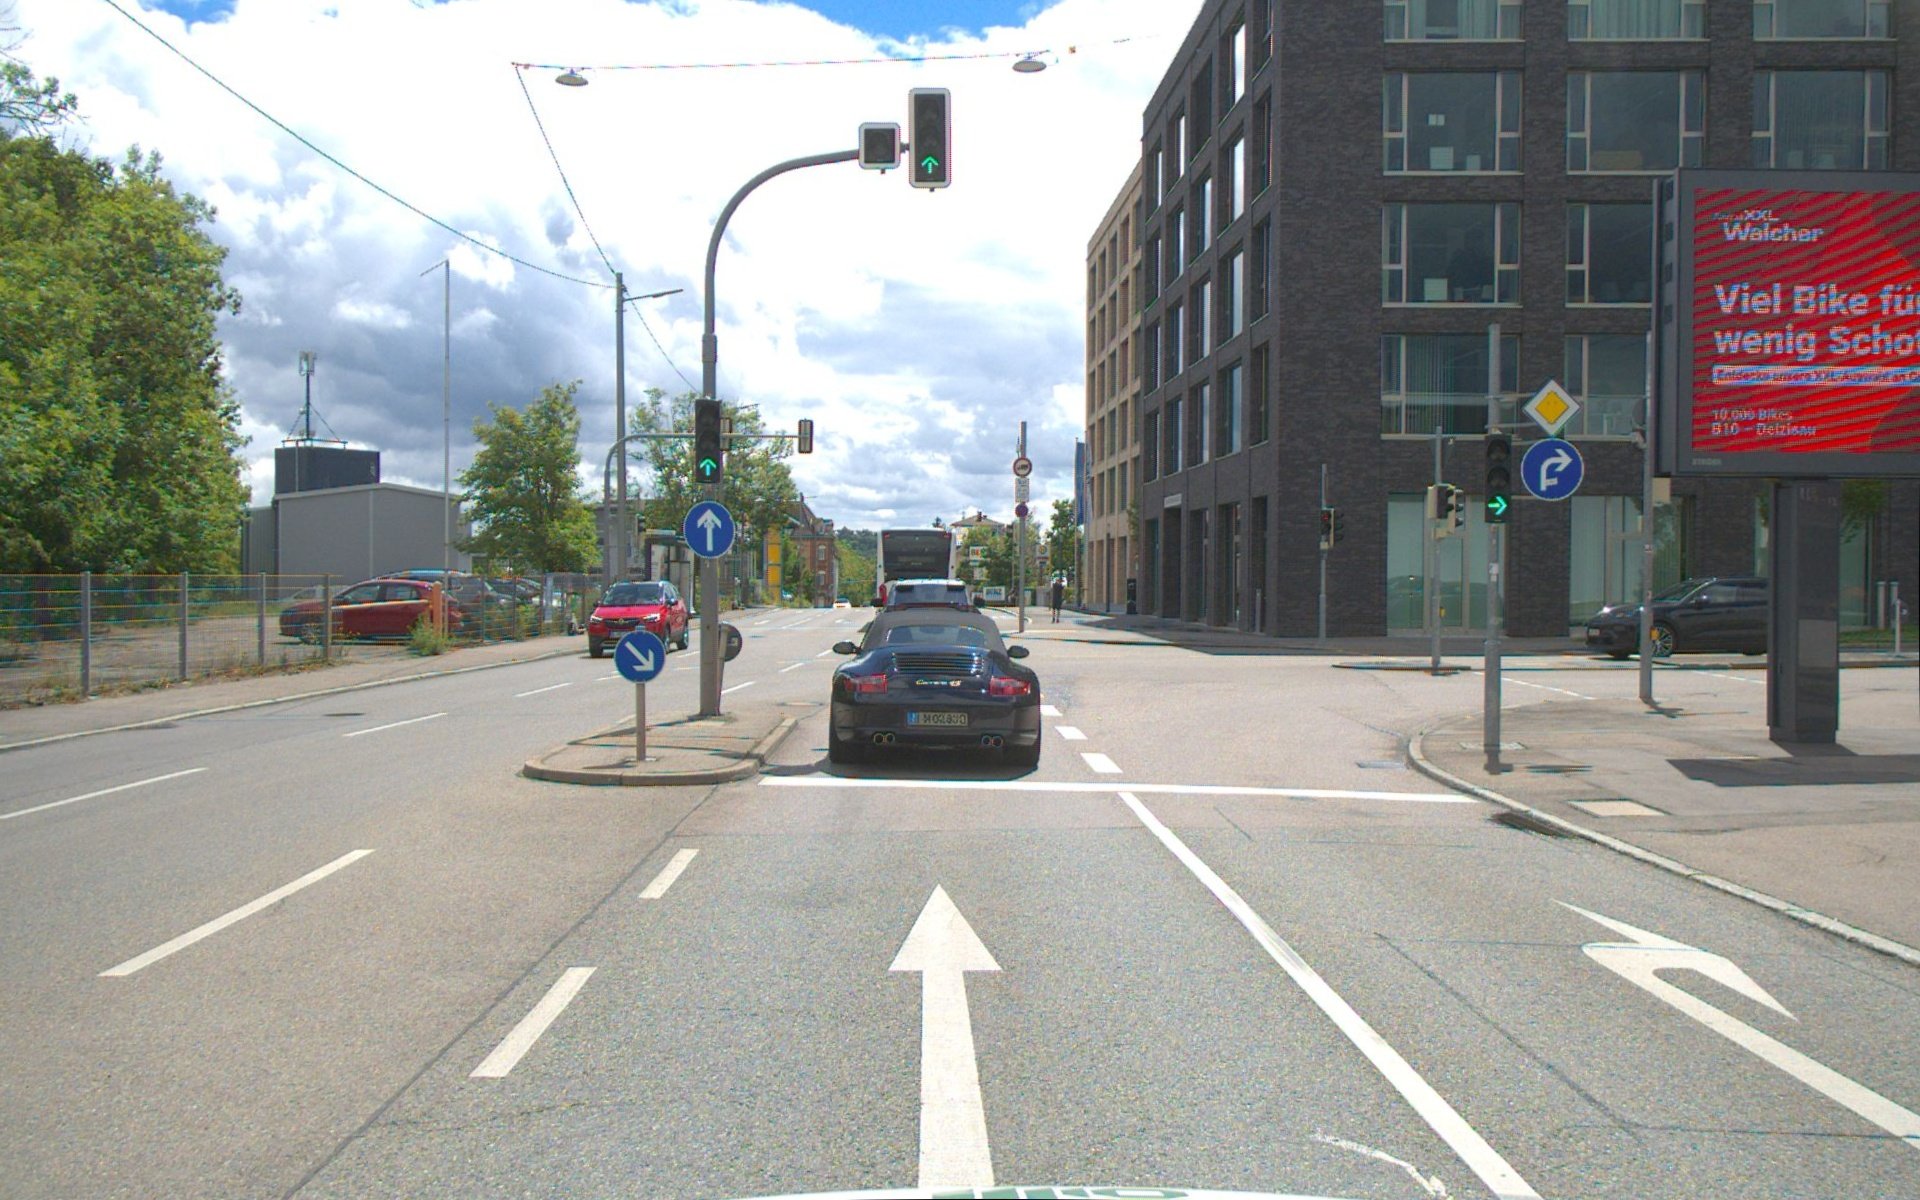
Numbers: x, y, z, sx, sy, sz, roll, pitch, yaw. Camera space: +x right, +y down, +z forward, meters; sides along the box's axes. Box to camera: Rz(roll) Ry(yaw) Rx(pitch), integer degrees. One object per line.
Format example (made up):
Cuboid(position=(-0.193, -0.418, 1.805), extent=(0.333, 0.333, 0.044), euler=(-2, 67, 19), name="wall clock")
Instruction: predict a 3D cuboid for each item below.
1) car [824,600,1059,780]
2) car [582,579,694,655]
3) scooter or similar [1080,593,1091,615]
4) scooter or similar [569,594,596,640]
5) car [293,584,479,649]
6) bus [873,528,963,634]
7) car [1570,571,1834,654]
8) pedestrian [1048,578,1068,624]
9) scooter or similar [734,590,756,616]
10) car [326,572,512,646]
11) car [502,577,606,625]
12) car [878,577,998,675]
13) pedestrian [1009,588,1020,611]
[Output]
Cuboid(position=(-0.182, 0.727, 15.471), extent=(1.891, 1.401, 4.207), euler=(0, 1, -1), name="car")
Cuboid(position=(-7.239, 0.347, 37.547), extent=(1.803, 1.624, 4.000), euler=(0, 1, -1), name="car")
Cuboid(position=(7.048, 0.225, 92.984), extent=(0.418, 1.173, 1.403), euler=(0, 0, -2), name="scooter or similar")
Cuboid(position=(-10.330, 0.467, 45.285), extent=(0.415, 1.231, 1.126), euler=(2, 0, 3), name="scooter or similar")
Cuboid(position=(-13.201, 0.363, 38.240), extent=(3.782, 1.443, 1.898), euler=(0, 0, -11), name="car")
Cuboid(position=(-1.349, -0.669, 57.281), extent=(2.745, 3.253, 12.194), euler=(0, 1, 0), name="bus")
Cuboid(position=(15.150, 0.232, 33.930), extent=(4.546, 1.647, 1.999), euler=(0, 1, -2), name="car")
Cuboid(position=(3.809, 0.021, 64.127), extent=(0.669, 1.758, 0.962), euler=(1, 0, -2), name="pedestrian")
Cuboid(position=(-10.664, 0.142, 82.159), extent=(0.523, 1.284, 1.472), euler=(2, 0, 15), name="scooter or similar")
Cuboid(position=(-13.341, 0.199, 41.014), extent=(4.024, 1.765, 1.997), euler=(0, 0, -6), name="car")
Cuboid(position=(-17.551, 0.049, 71.724), extent=(4.197, 2.049, 2.136), euler=(0, 0, -9), name="car")
Cuboid(position=(-0.465, 0.411, 29.378), extent=(1.892, 1.610, 4.204), euler=(0, 0, -4), name="car")
Cuboid(position=(3.688, -0.024, 111.941), extent=(0.673, 1.563, 0.856), euler=(0, -1, -2), name="pedestrian")
